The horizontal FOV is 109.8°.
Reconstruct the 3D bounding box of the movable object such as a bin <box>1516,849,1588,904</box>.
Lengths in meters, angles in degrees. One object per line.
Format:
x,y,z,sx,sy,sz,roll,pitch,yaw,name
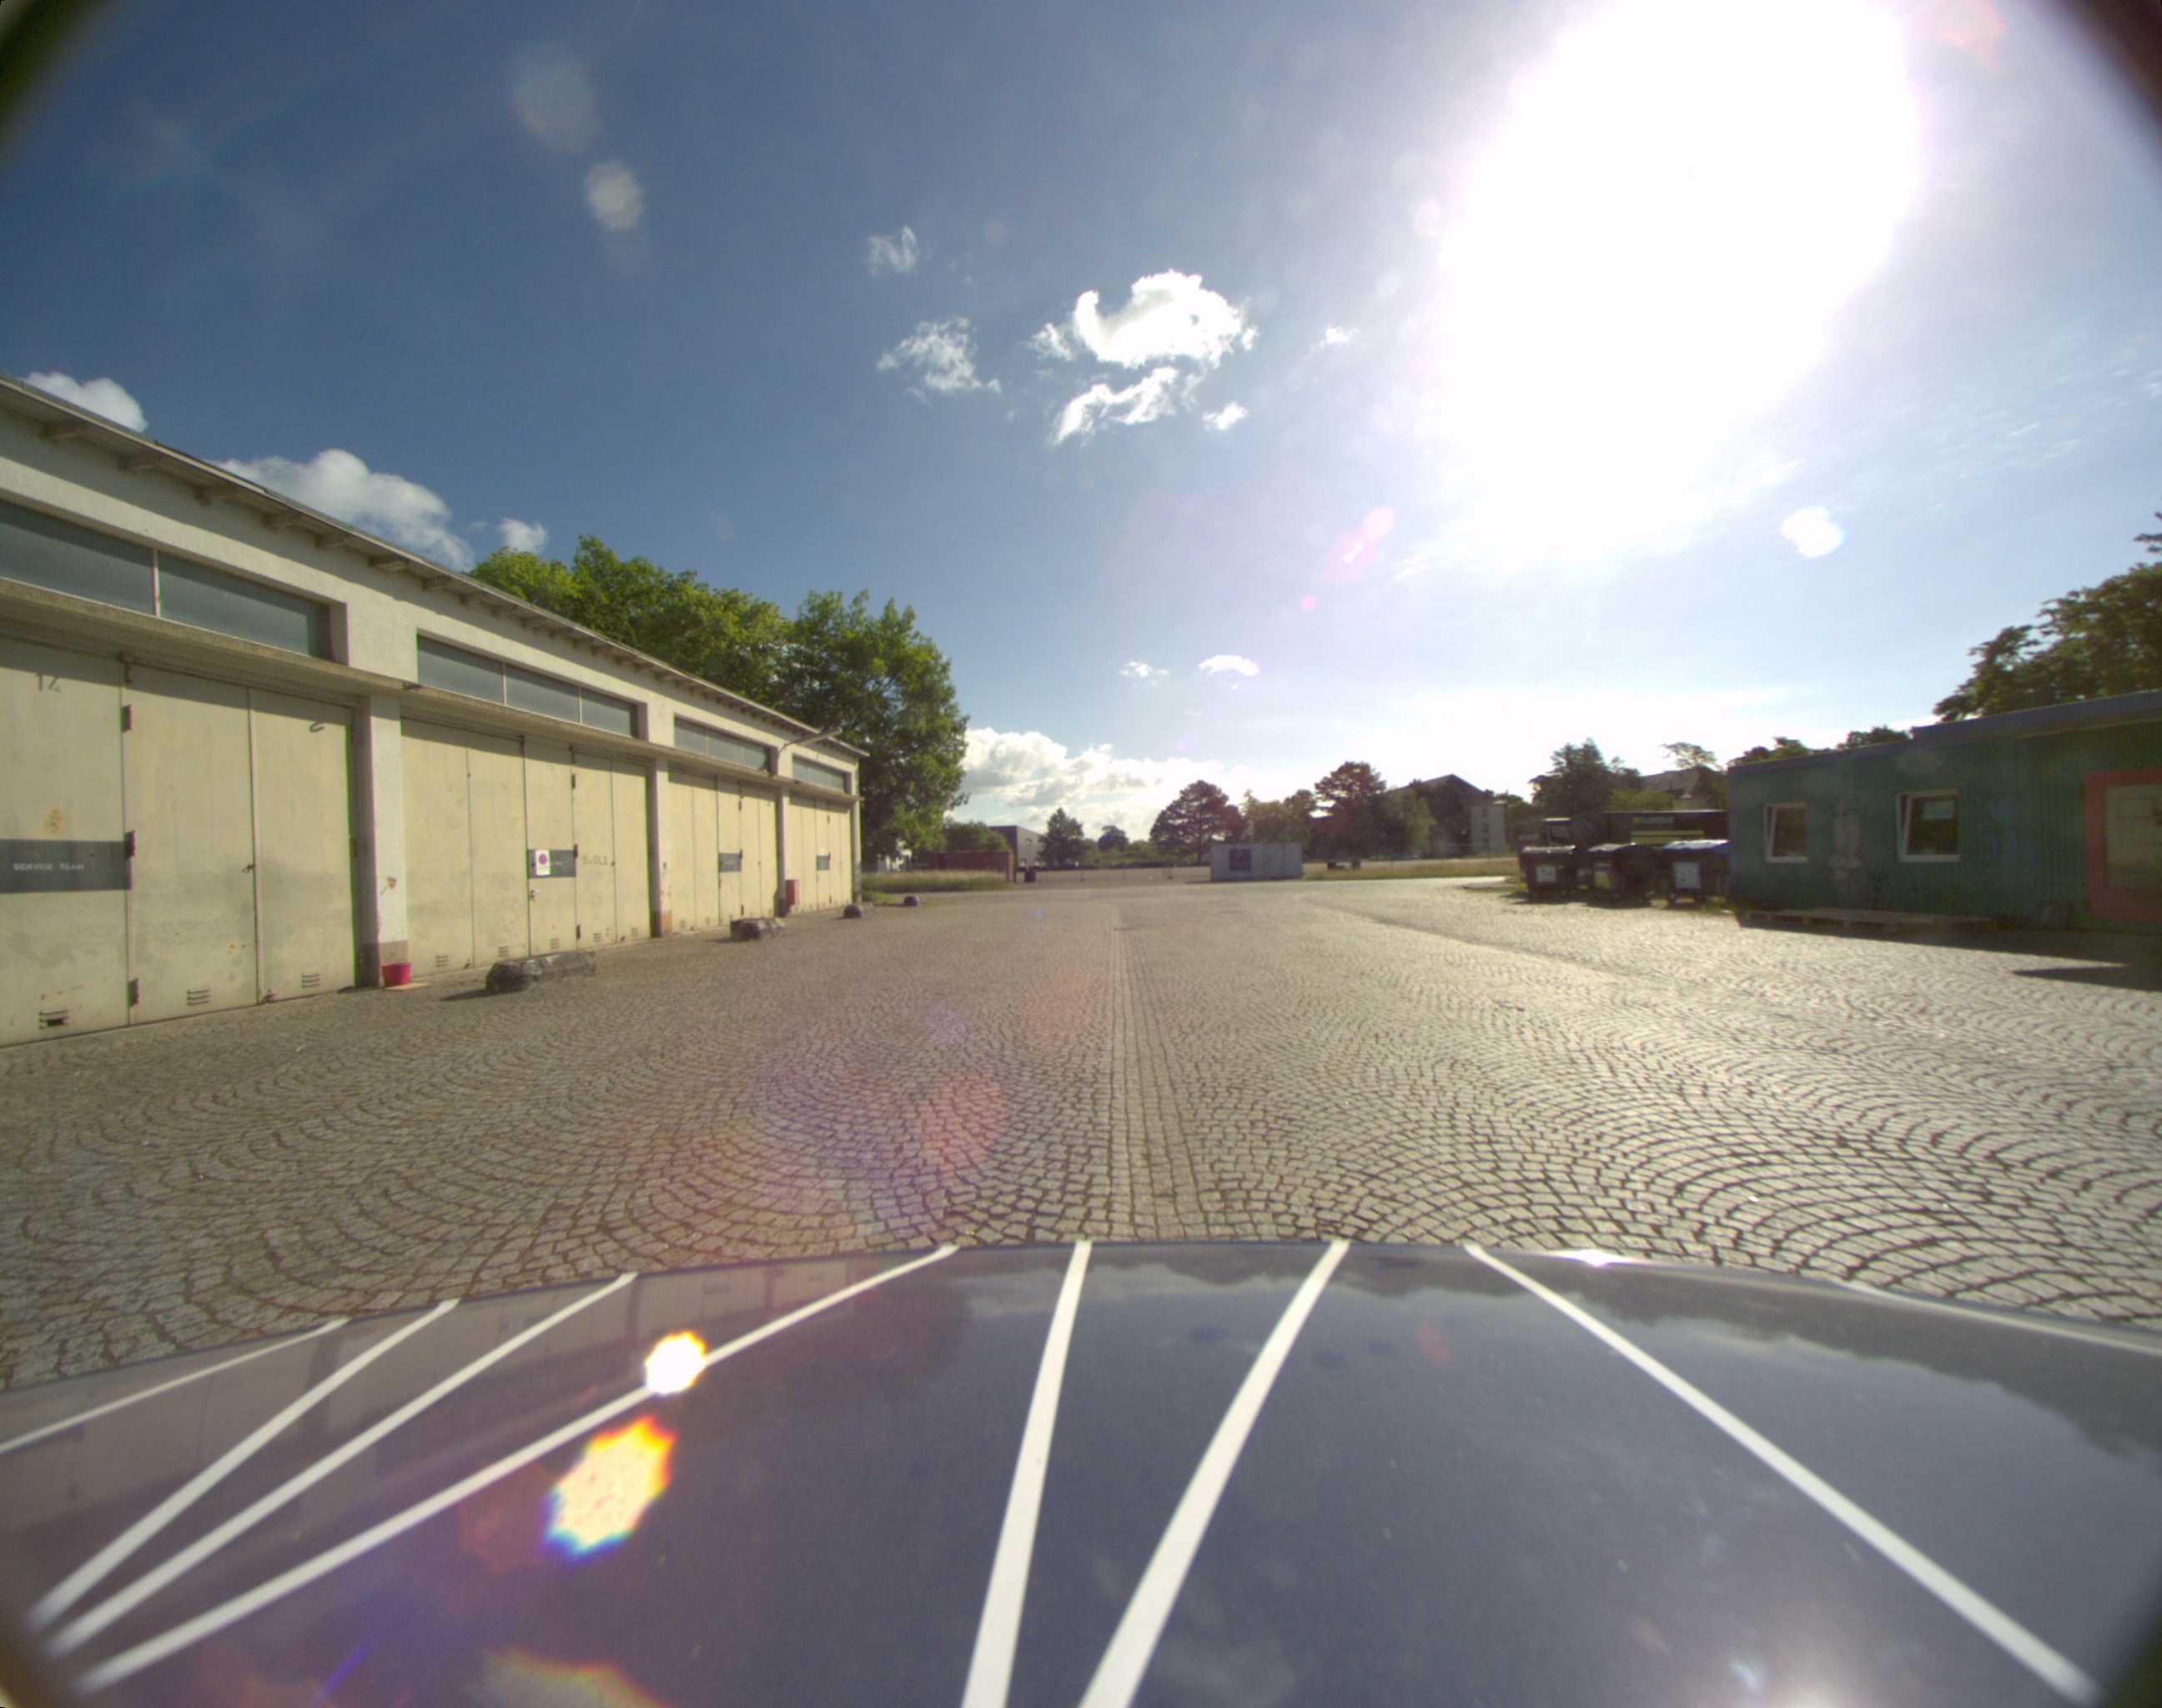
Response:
13.204,0.616,21.310,1.158,1.449,1.434,-3,1,-45,movable object such as a bin

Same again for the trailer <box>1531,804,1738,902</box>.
16.144,-0.044,22.335,4.648,2.553,1.951,-2,1,-1,trailer

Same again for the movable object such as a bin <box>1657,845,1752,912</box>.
14.288,0.535,17.471,0.885,1.449,1.439,-3,1,-8,movable object such as a bin

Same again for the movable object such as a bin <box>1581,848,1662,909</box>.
13.609,0.589,19.180,1.020,1.449,1.440,-2,1,2,movable object such as a bin

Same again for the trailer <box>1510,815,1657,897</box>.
16.279,0.061,24.784,3.392,2.455,2.044,-2,1,3,trailer
